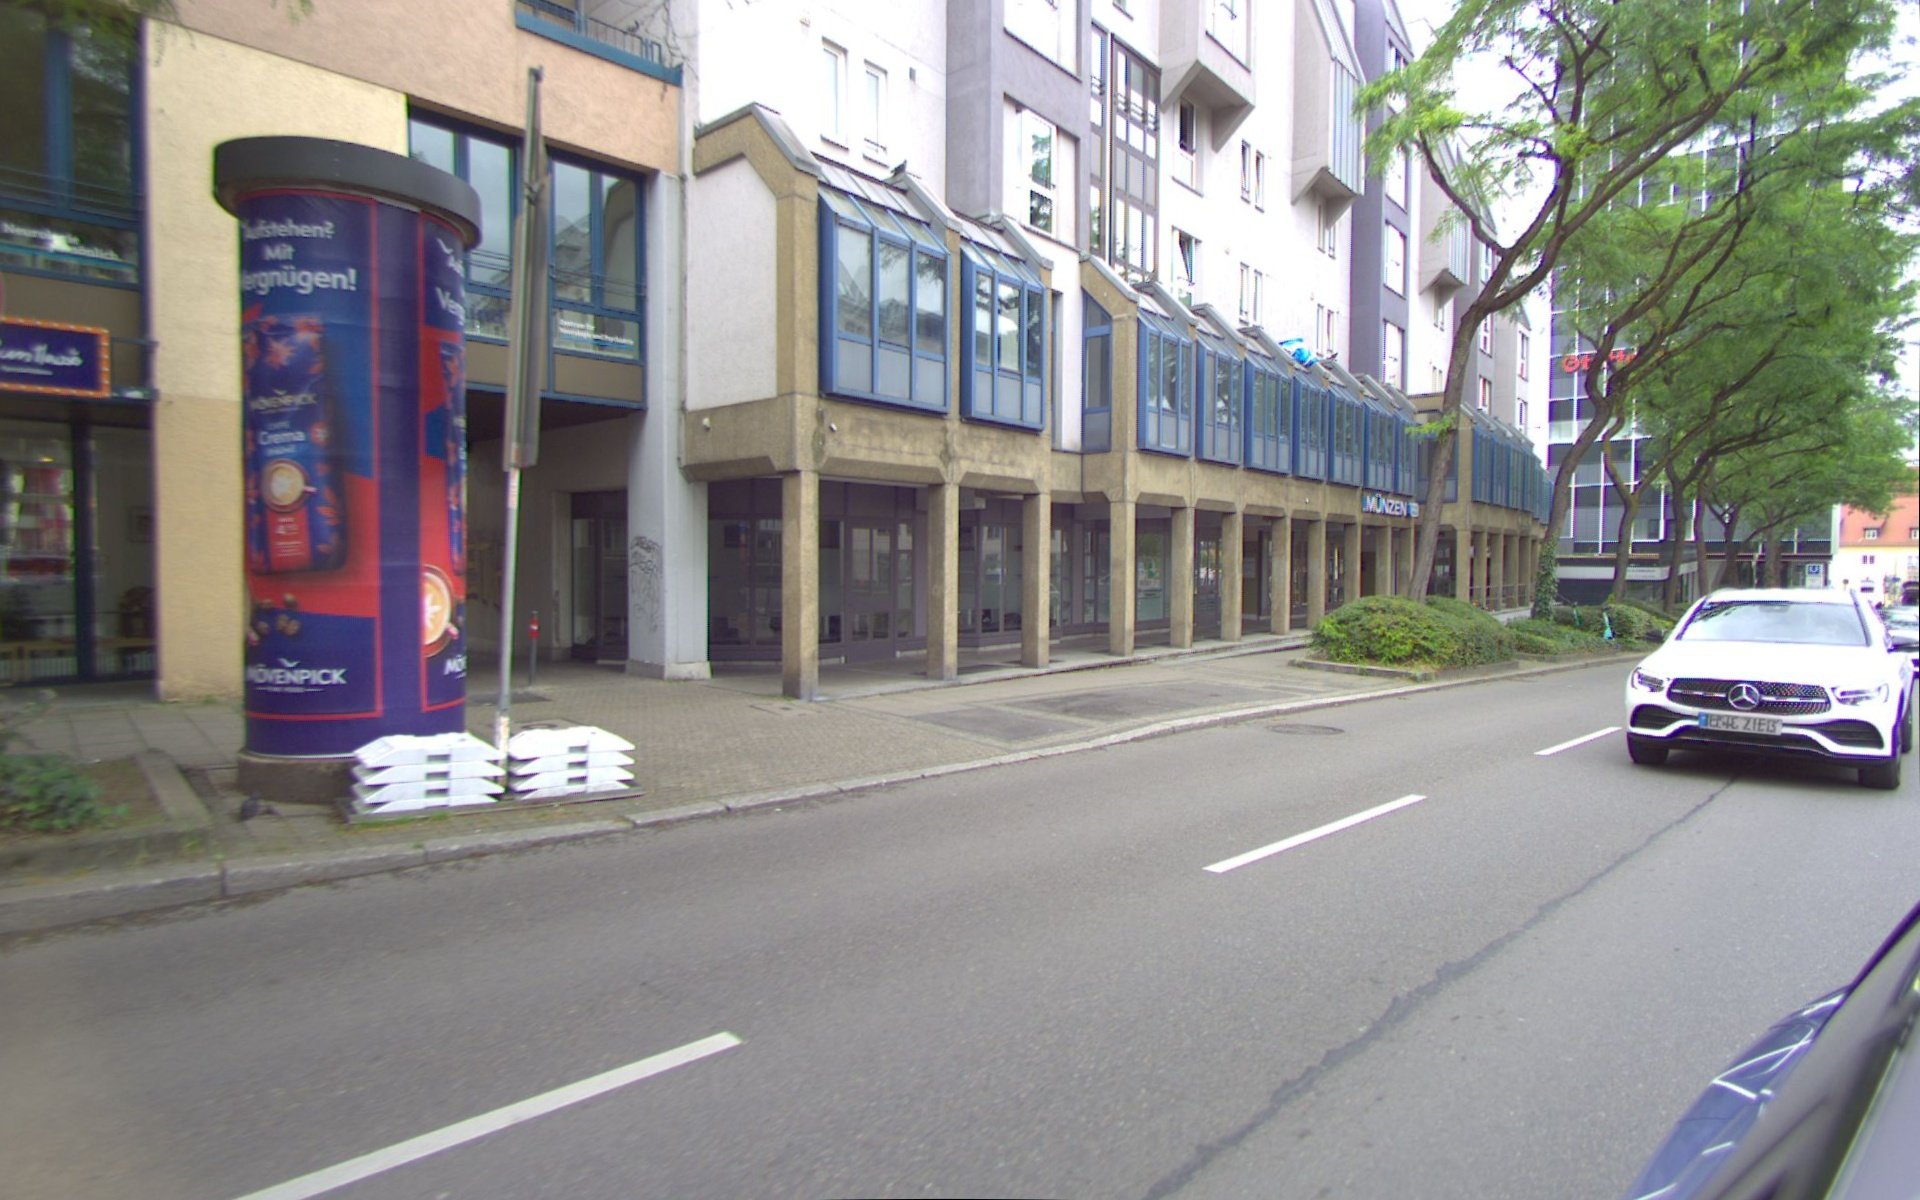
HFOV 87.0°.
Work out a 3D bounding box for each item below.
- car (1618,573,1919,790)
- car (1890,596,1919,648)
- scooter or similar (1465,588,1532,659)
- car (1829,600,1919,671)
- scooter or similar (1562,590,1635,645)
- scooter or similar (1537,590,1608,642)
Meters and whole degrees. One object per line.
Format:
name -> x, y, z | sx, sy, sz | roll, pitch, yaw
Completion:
car -> 7.969, 0.587, 9.628 | 3.862, 1.628, 2.056 | -1, 1, -44
car -> 32.014, 0.695, 33.459 | 3.599, 1.632, 1.637 | -1, 1, -44
scooter or similar -> 11.402, 0.474, 21.453 | 0.564, 1.452, 1.185 | 0, 0, -17
car -> 20.812, 0.719, 22.462 | 4.534, 1.404, 1.886 | -1, 1, -44
scooter or similar -> 17.172, 0.463, 27.232 | 1.512, 1.452, 0.685 | 0, 0, 16
scooter or similar -> 17.374, 0.434, 28.742 | 1.575, 1.452, 0.729 | 0, 0, 16
